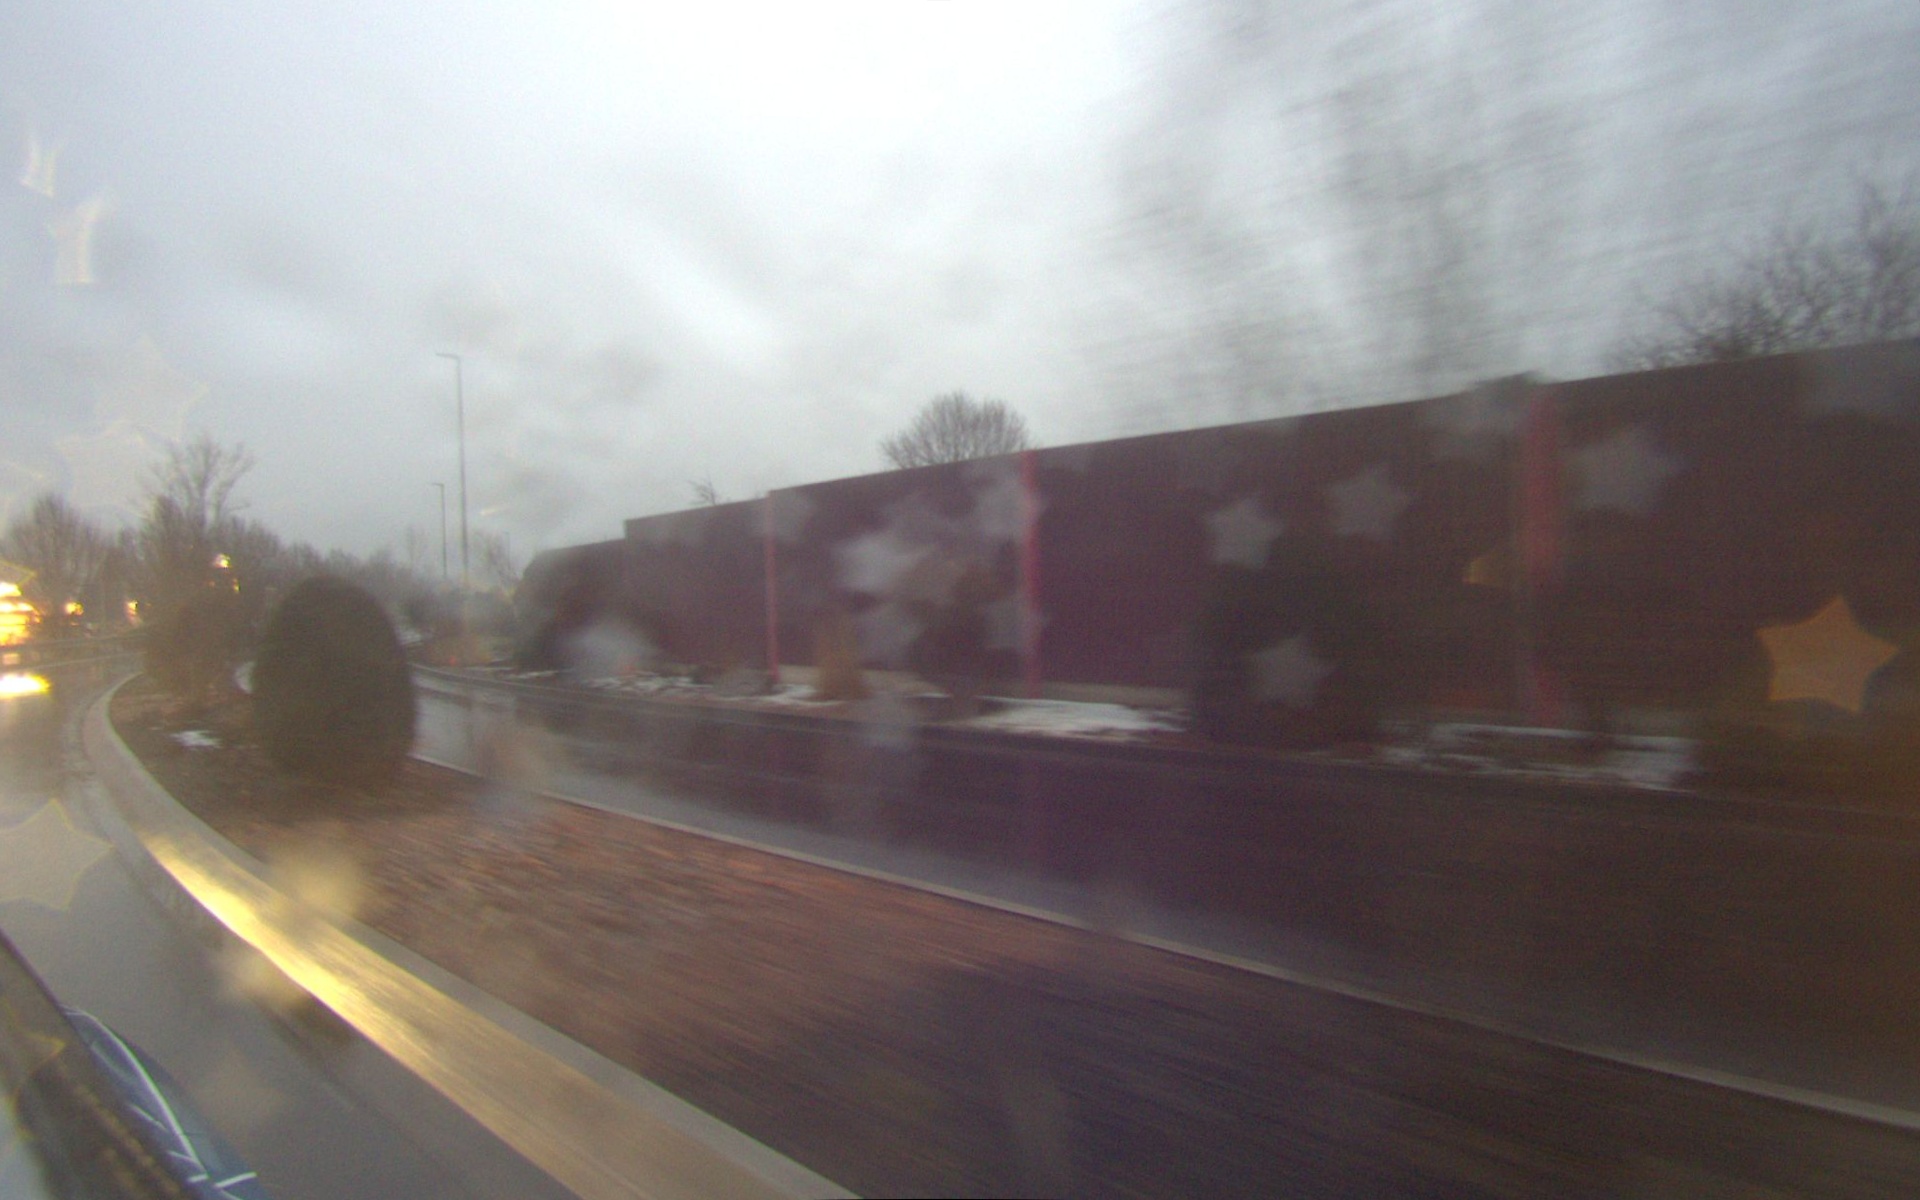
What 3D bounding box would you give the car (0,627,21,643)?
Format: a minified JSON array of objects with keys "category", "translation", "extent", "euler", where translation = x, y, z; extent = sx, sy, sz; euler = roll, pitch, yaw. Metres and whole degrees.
[{"category":"car","translation":[-100.553,3.693,105.179],"extent":[3.944,1.609,1.812],"euler":[0,0,-26]}]
